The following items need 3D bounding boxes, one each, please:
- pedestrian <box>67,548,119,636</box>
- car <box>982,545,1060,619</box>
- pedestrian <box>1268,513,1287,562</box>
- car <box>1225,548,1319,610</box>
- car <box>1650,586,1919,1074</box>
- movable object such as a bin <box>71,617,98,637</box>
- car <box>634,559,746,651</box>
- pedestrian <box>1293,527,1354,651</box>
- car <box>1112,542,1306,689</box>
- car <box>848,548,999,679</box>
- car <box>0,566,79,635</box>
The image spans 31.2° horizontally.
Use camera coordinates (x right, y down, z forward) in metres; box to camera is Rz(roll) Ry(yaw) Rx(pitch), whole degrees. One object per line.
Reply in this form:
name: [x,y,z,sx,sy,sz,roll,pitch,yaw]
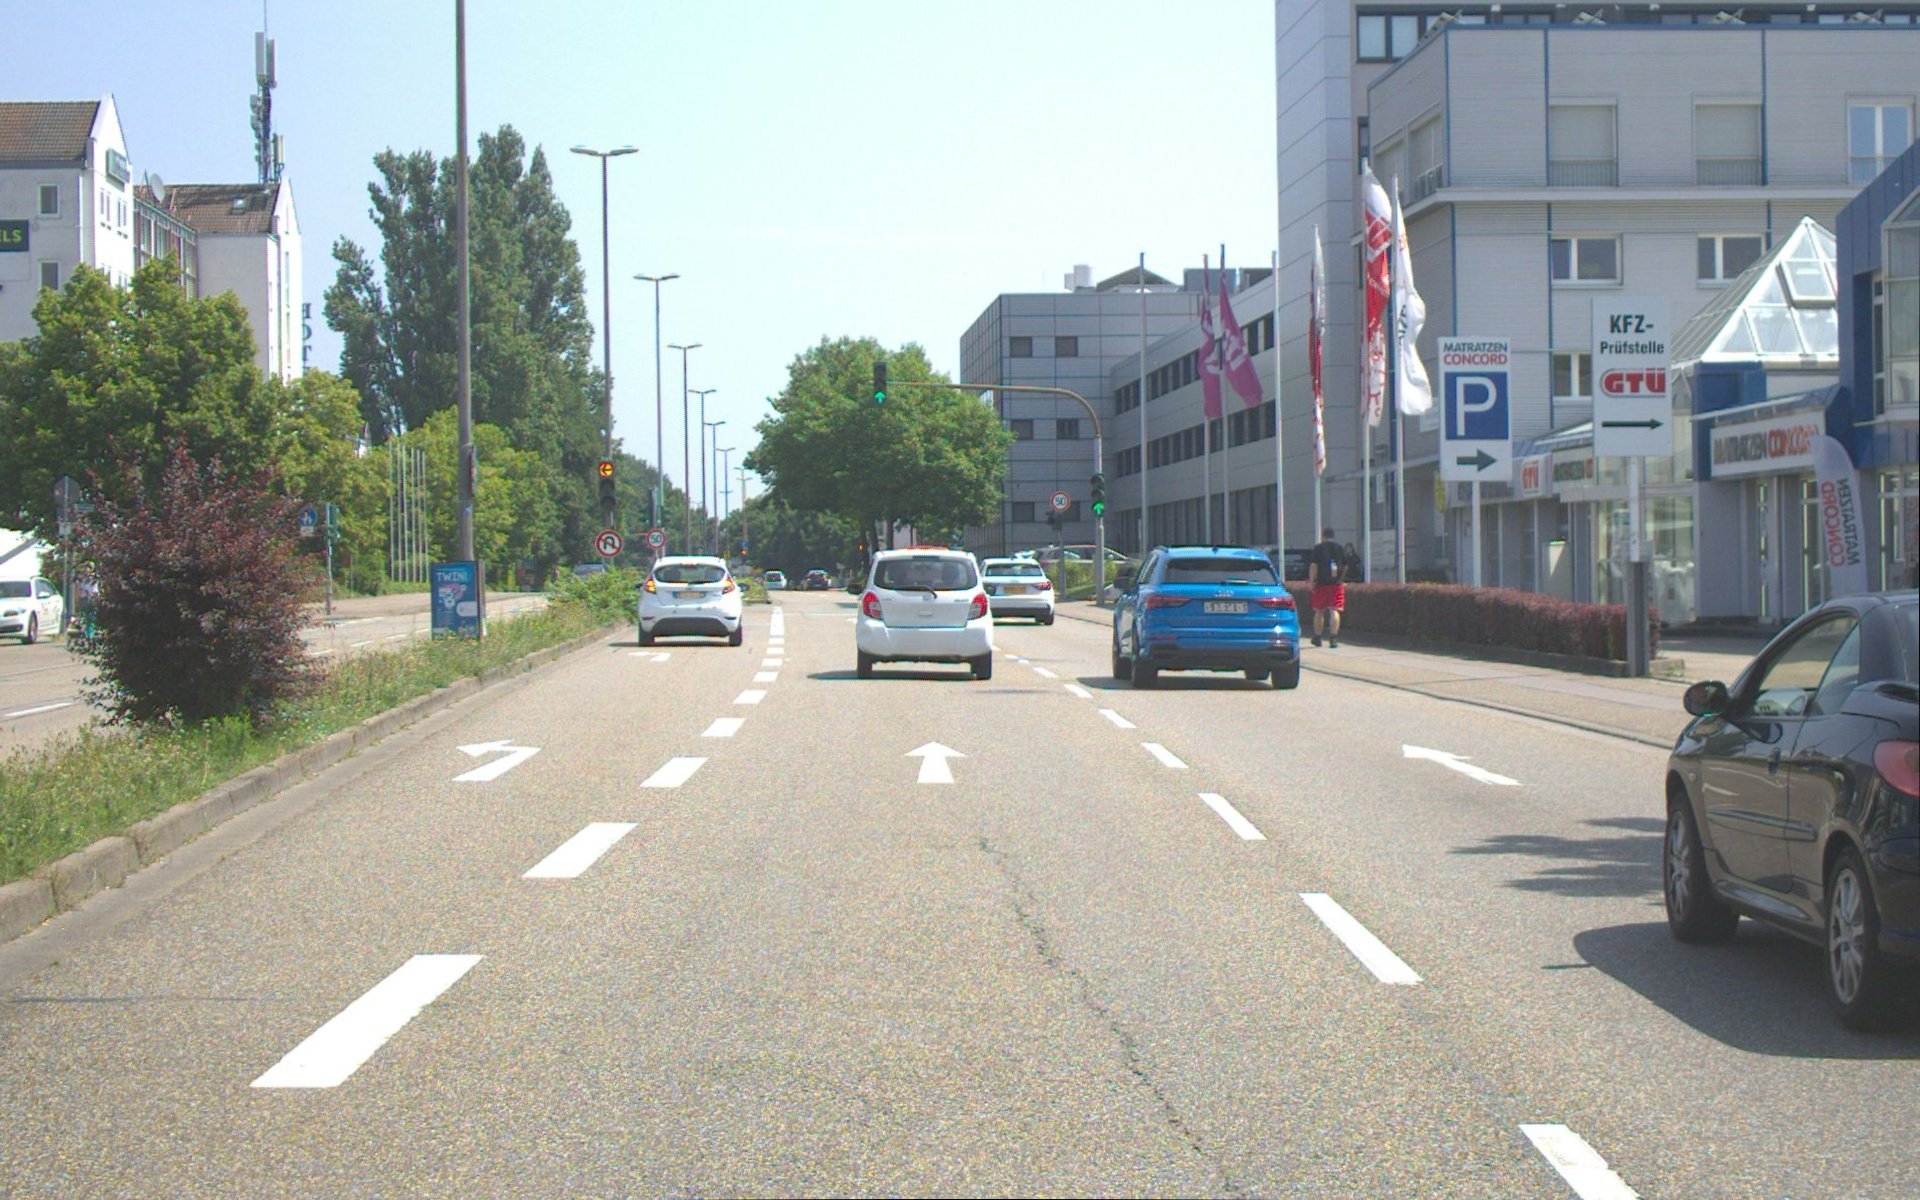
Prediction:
pedestrian: [-17.296,-0.163,68.584,0.740,1.741,1.033,-1,1,0]
car: [1.279,-0.401,73.108,1.559,1.515,3.605,-1,1,0]
pedestrian: [10.681,-2.095,115.590,0.593,1.629,0.523,-1,1,5]
car: [8.033,-0.556,88.824,1.844,1.526,4.197,1,1,-3]
car: [3.498,0.656,11.672,1.627,1.359,3.605,0,1,1]
movable object such as a bin: [-17.361,0.535,68.160,0.416,0.370,0.506,-1,1,-2]
car: [-4.416,0.061,56.603,1.688,1.429,3.712,-1,1,-3]
pedestrian: [5.494,-0.176,52.062,0.785,1.840,0.936,-1,1,0]
car: [2.795,0.137,39.256,1.827,1.575,3.606,-1,1,-2]
car: [-0.481,0.131,41.759,1.748,1.515,3.746,0,1,-2]
car: [-20.378,0.000,73.638,1.776,1.405,4.759,-1,1,0]
